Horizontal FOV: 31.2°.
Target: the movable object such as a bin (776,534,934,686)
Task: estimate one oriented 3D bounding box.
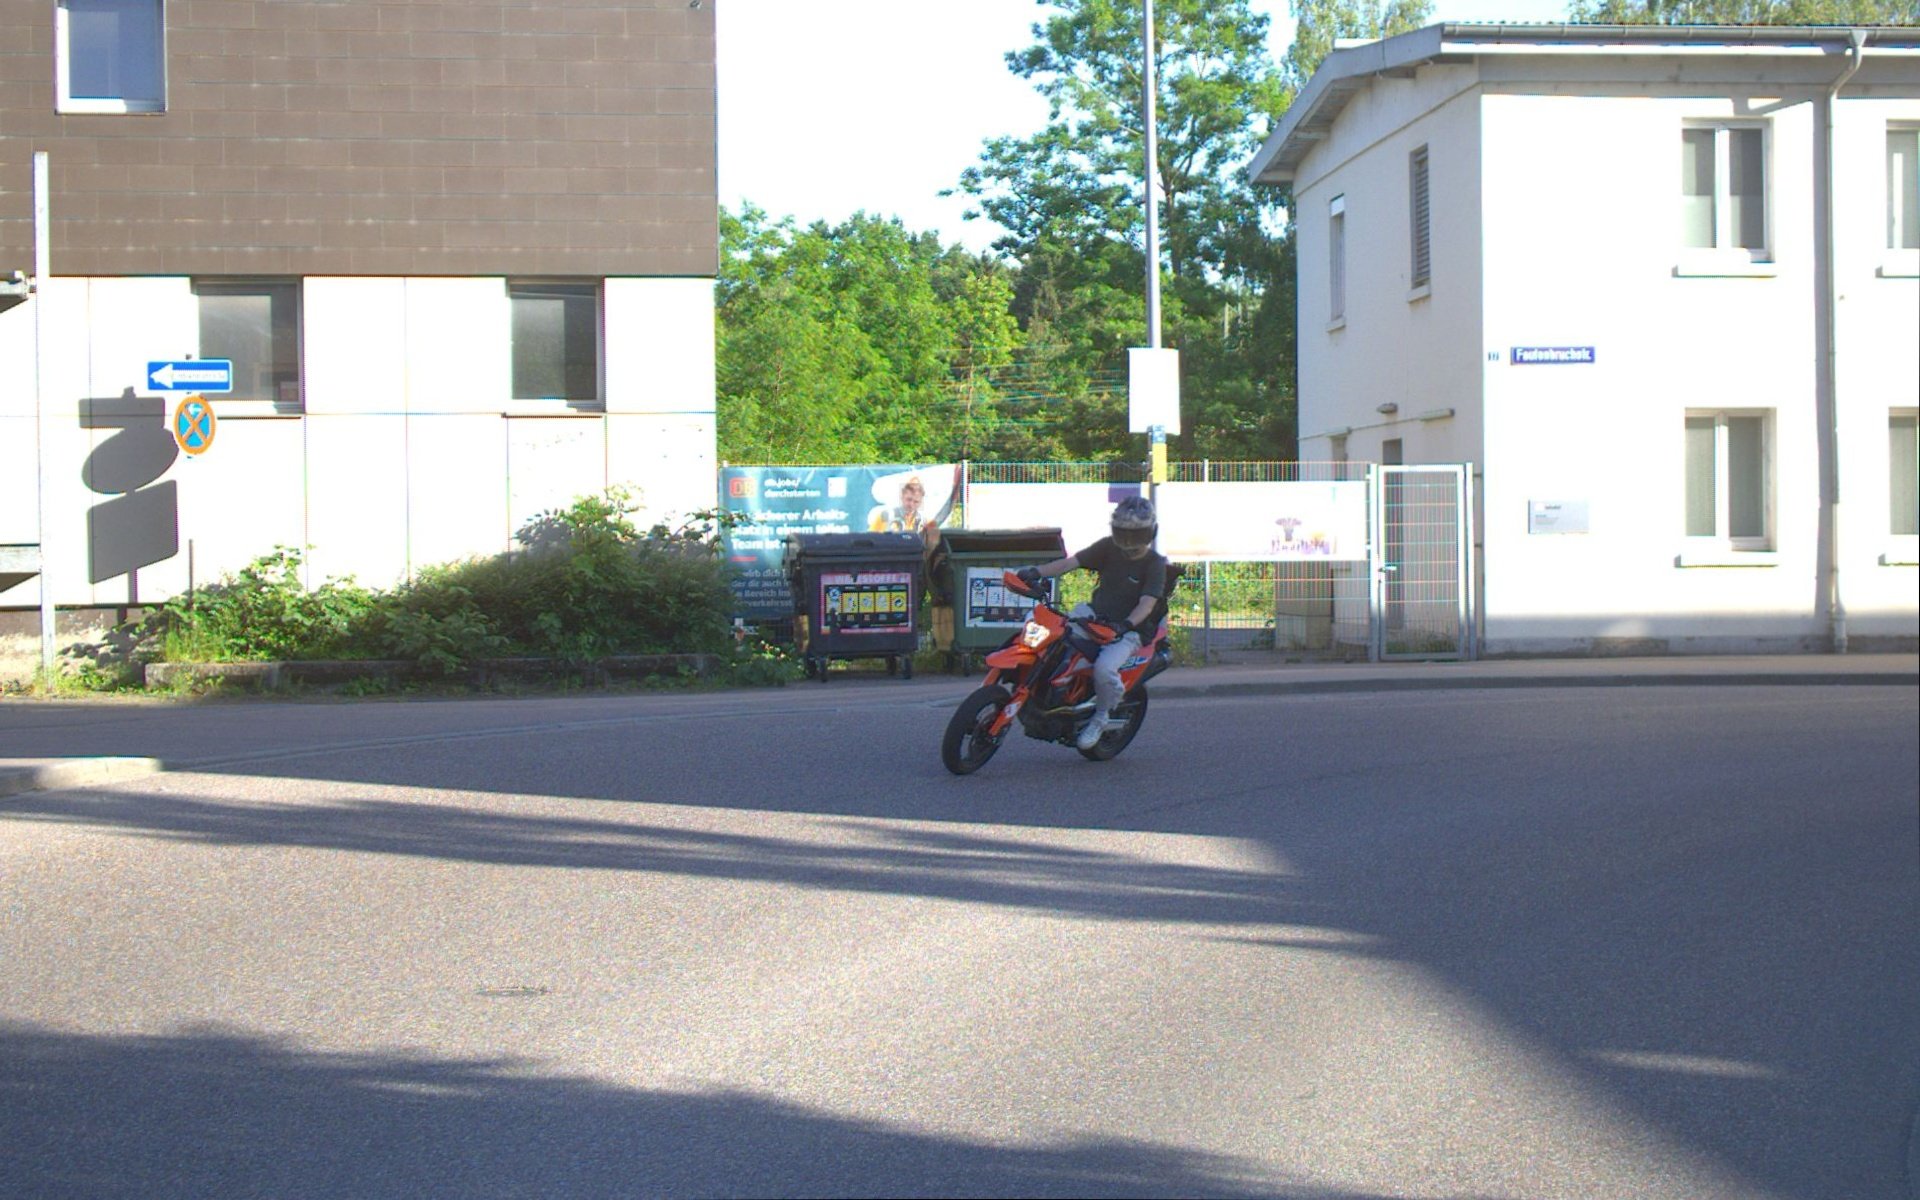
[{"bbox_3d":[-1.034,0.095,33.604,1.364,1.413,1.066,2,0,-10],"label":"movable object such as a bin"}]

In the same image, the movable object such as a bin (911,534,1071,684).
[{"bbox_3d":[0.300,0.085,34.084,1.364,1.413,1.066,2,0,-10],"label":"movable object such as a bin"}]

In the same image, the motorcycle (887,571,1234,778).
[{"bbox_3d":[0.630,0.428,20.977,2.031,1.182,0.962,0,1,-45],"label":"motorcycle"}]

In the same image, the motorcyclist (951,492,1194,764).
[{"bbox_3d":[0.686,0.170,21.011,0.895,1.548,1.030,3,3,-45],"label":"motorcyclist"}]
